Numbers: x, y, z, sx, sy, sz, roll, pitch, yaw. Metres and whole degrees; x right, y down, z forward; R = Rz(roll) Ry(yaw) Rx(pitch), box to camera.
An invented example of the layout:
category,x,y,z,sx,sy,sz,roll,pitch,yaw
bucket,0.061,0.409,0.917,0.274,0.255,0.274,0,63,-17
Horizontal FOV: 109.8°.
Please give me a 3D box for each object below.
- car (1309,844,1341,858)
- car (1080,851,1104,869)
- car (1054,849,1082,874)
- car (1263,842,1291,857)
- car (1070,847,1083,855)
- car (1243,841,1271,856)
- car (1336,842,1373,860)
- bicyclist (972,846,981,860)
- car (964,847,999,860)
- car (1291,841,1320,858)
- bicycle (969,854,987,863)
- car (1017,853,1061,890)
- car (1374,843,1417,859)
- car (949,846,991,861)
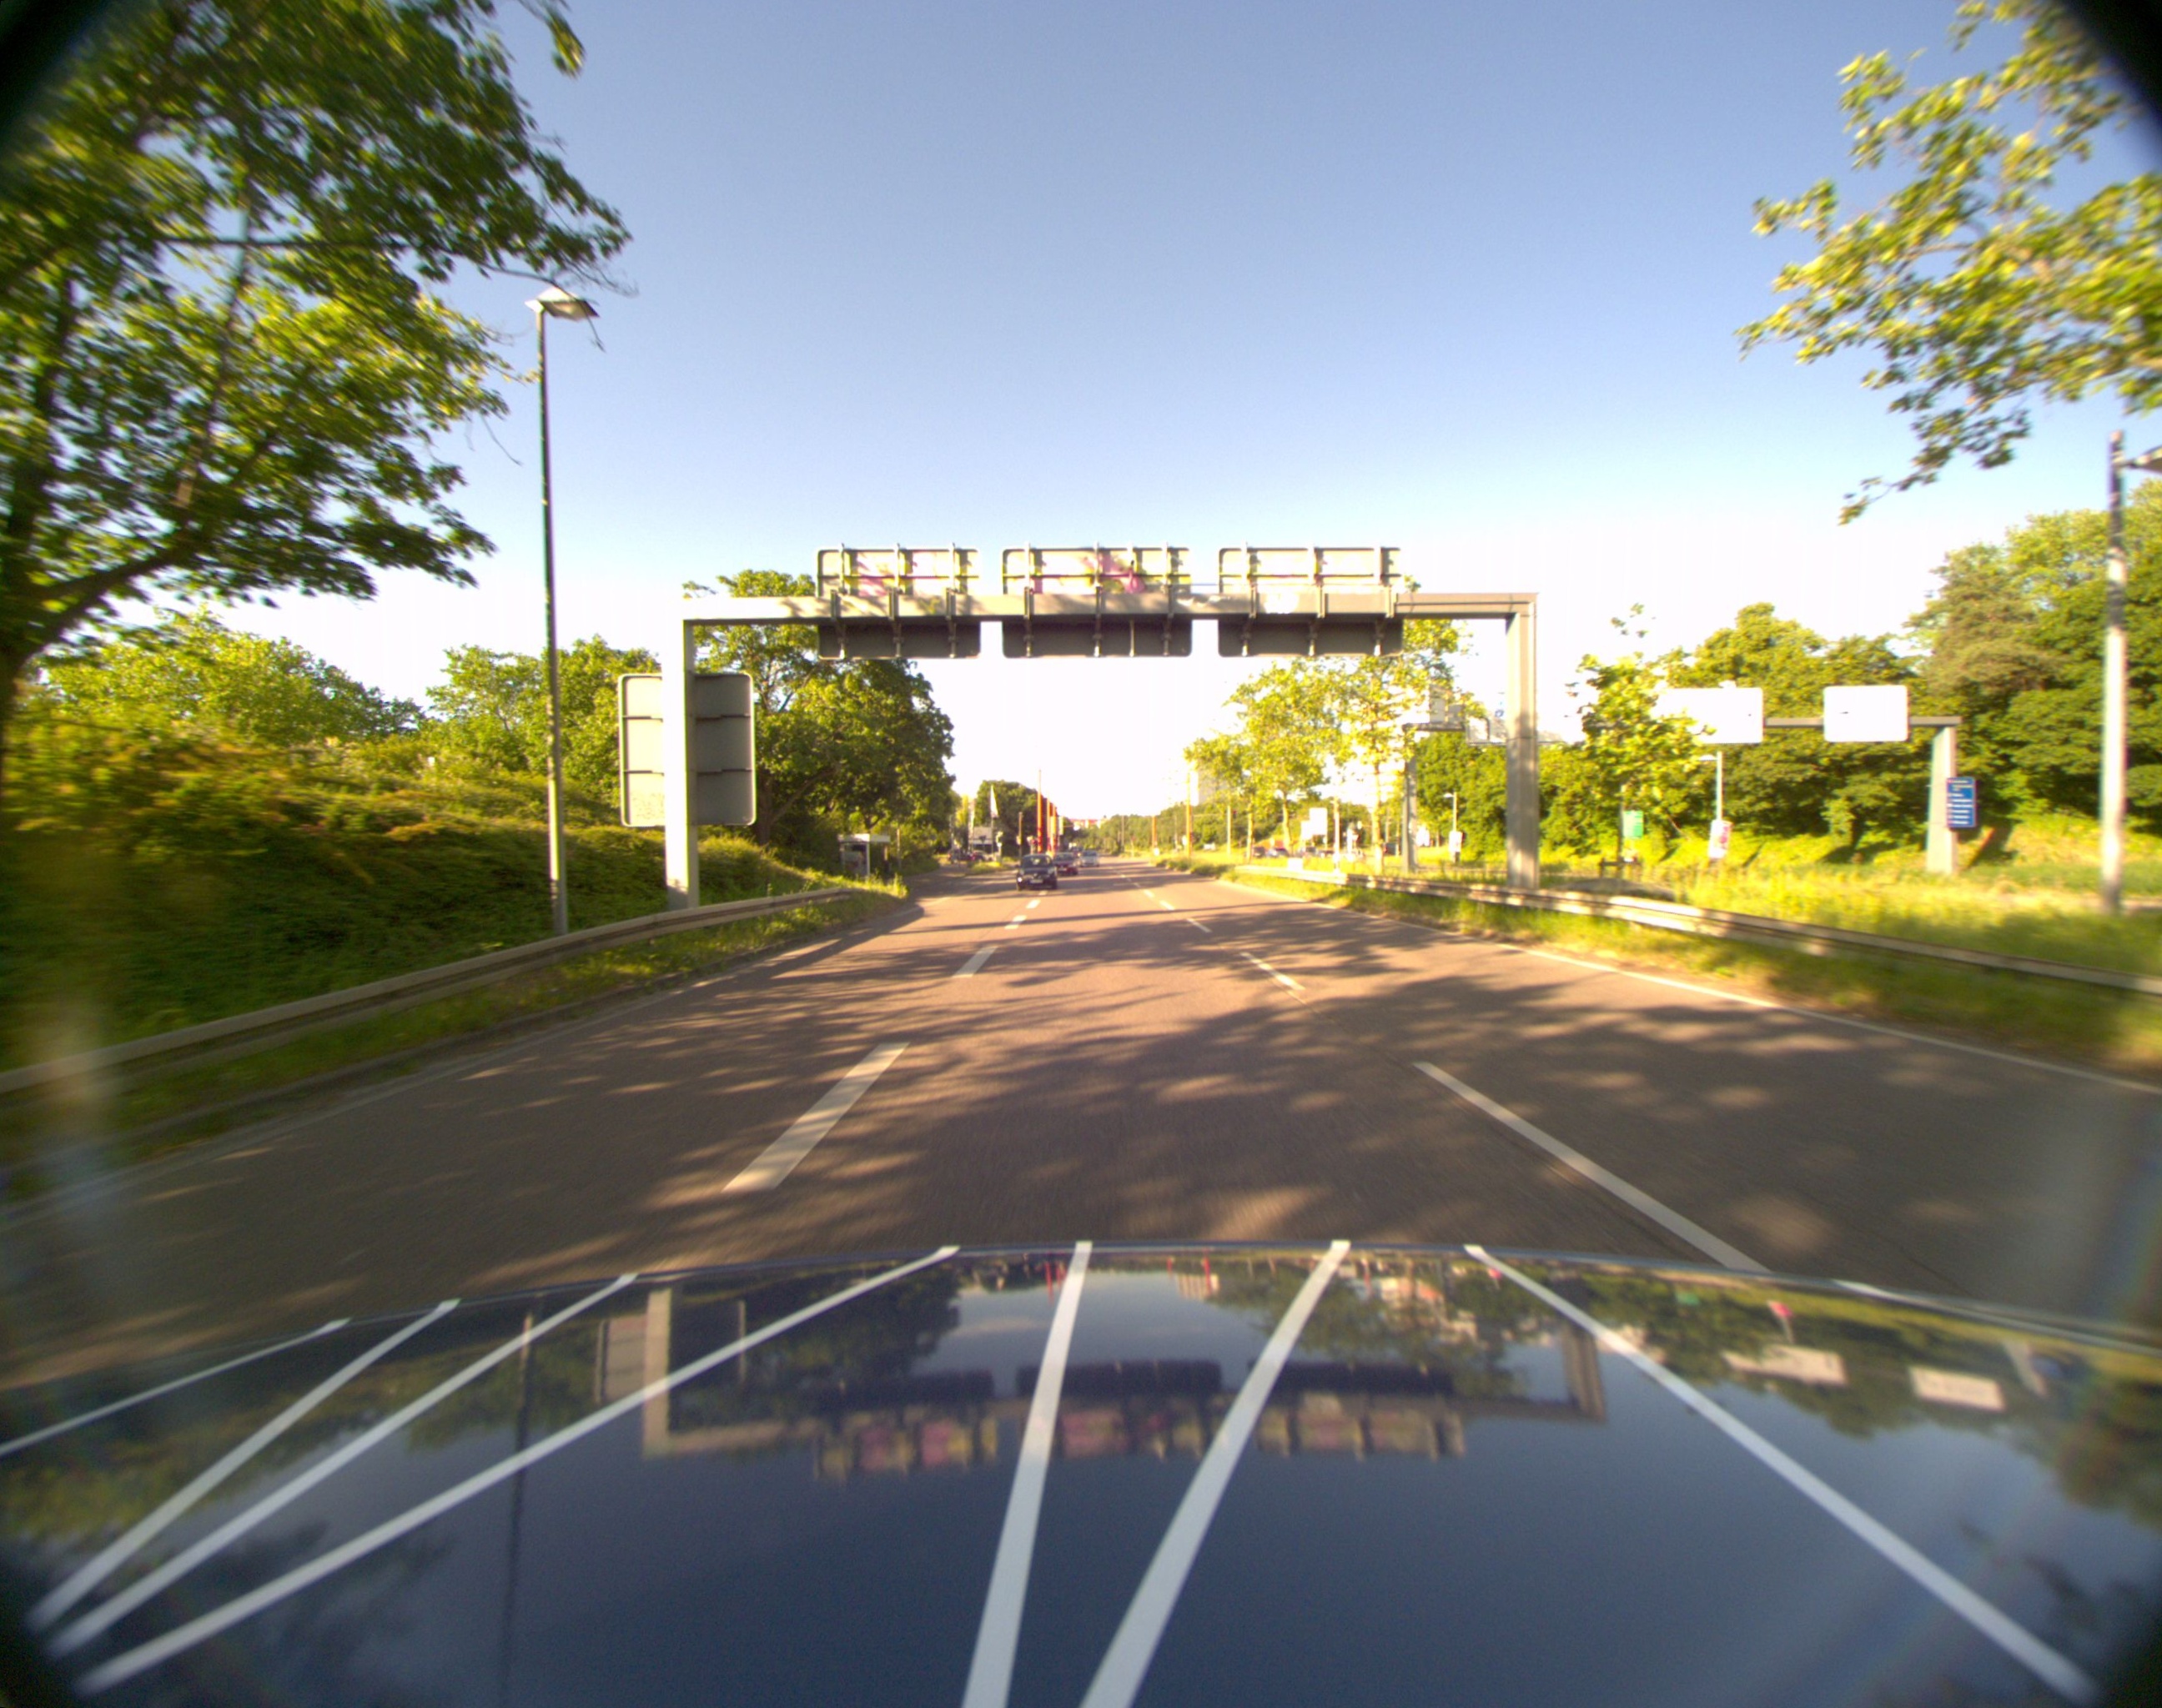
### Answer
category,x,y,z,sx,sy,sz,roll,pitch,yaw
car,25.602,-0.314,79.770,1.903,1.466,4.565,1,0,0
car,0.991,0.545,68.350,1.914,1.549,4.725,-1,0,-2
car,-0.896,0.498,50.339,1.772,1.549,4.725,-1,0,-2
car,21.912,-0.548,85.246,1.903,1.601,4.565,1,0,0
car,-0.805,-0.518,135.370,1.999,1.486,4.287,0,0,-4
car,18.993,-0.545,82.155,1.903,1.556,4.565,1,0,0
car,26.062,-0.273,72.581,1.903,1.601,4.565,1,0,0
bicyclist,-12.024,-0.098,87.740,0.981,1.548,0.761,0,1,-10
car,-12.489,-0.076,95.109,4.094,1.529,1.770,-1,0,-18
car,25.462,-0.509,86.262,1.903,1.765,4.446,1,0,0
bicycle,-11.947,0.520,87.776,2.015,1.085,0.765,0,1,-11
car,-1.774,0.697,33.106,1.739,1.474,4.621,0,0,-2
car,45.988,-0.418,111.109,5.662,2.191,2.039,-1,1,-11
car,-13.313,-0.014,90.939,4.657,1.716,1.905,-1,0,-17
